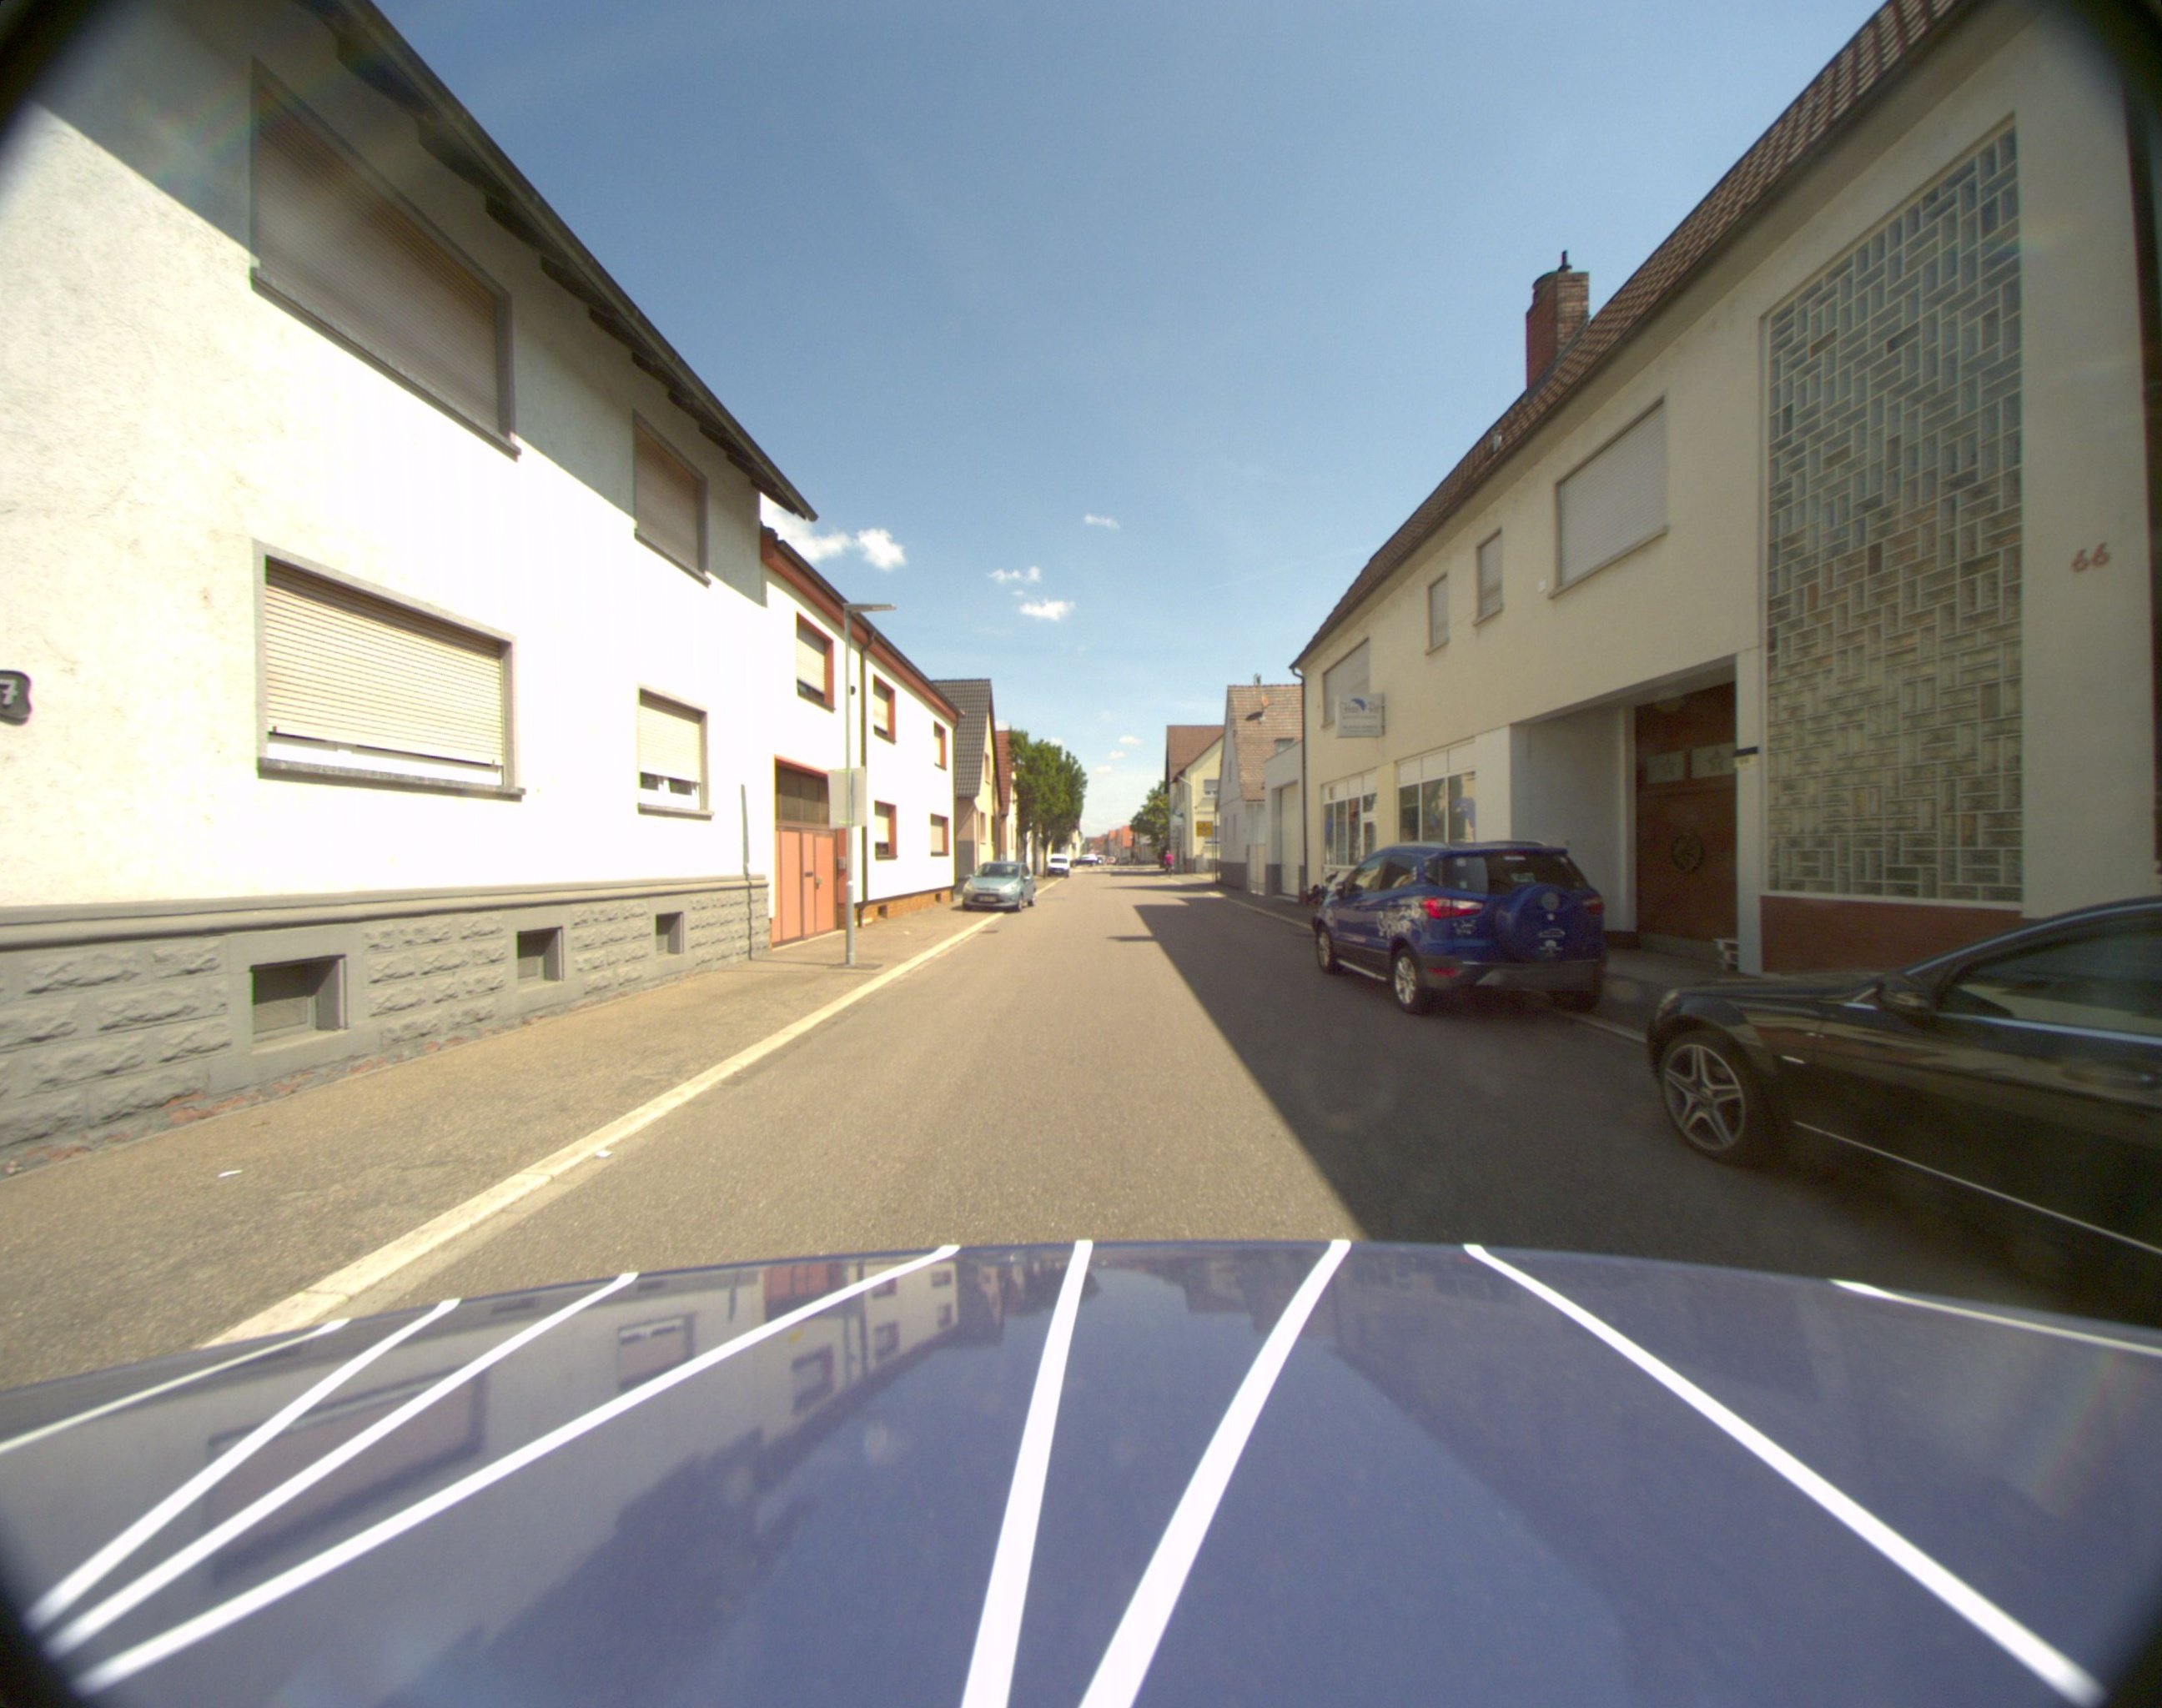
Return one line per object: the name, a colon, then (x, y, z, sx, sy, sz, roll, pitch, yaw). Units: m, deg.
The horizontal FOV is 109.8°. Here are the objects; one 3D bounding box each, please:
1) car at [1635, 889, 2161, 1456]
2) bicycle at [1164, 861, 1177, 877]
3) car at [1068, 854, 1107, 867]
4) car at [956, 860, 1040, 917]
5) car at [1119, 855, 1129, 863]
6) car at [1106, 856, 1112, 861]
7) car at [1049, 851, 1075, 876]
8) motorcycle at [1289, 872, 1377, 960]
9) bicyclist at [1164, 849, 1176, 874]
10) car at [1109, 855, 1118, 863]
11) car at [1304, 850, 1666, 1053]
car: (3.751, 0.908, 1.845, 1.702, 1.403, 4.390, -1, 0, 2)
bicycle: (6.111, 1.019, 51.944, 0.744, 1.041, 1.941, -1, 0, 5)
car: (0.863, 0.907, 102.707, 4.846, 1.636, 1.997, -1, 0, -17)
car: (-2.422, 0.974, 23.033, 1.725, 1.473, 3.751, 2, 0, 5)
car: (7.776, 0.965, 138.355, 1.726, 1.385, 4.171, -1, -2, 3)
car: (8.155, 1.298, 223.894, 1.726, 1.385, 4.171, -1, -2, 3)
car: (-1.463, 0.689, 59.878, 1.692, 1.831, 4.764, 2, 0, 2)
motorcycle: (4.212, 0.990, 12.892, 0.810, 1.305, 2.105, -1, 0, 1)
bicyclist: (6.095, 0.498, 51.909, 0.748, 1.627, 0.957, -1, 1, 5)
car: (6.073, 0.904, 143.728, 1.598, 1.385, 4.168, -2, 0, 1)
car: (3.905, 0.797, 8.275, 1.721, 1.630, 4.148, 1, 0, 0)
